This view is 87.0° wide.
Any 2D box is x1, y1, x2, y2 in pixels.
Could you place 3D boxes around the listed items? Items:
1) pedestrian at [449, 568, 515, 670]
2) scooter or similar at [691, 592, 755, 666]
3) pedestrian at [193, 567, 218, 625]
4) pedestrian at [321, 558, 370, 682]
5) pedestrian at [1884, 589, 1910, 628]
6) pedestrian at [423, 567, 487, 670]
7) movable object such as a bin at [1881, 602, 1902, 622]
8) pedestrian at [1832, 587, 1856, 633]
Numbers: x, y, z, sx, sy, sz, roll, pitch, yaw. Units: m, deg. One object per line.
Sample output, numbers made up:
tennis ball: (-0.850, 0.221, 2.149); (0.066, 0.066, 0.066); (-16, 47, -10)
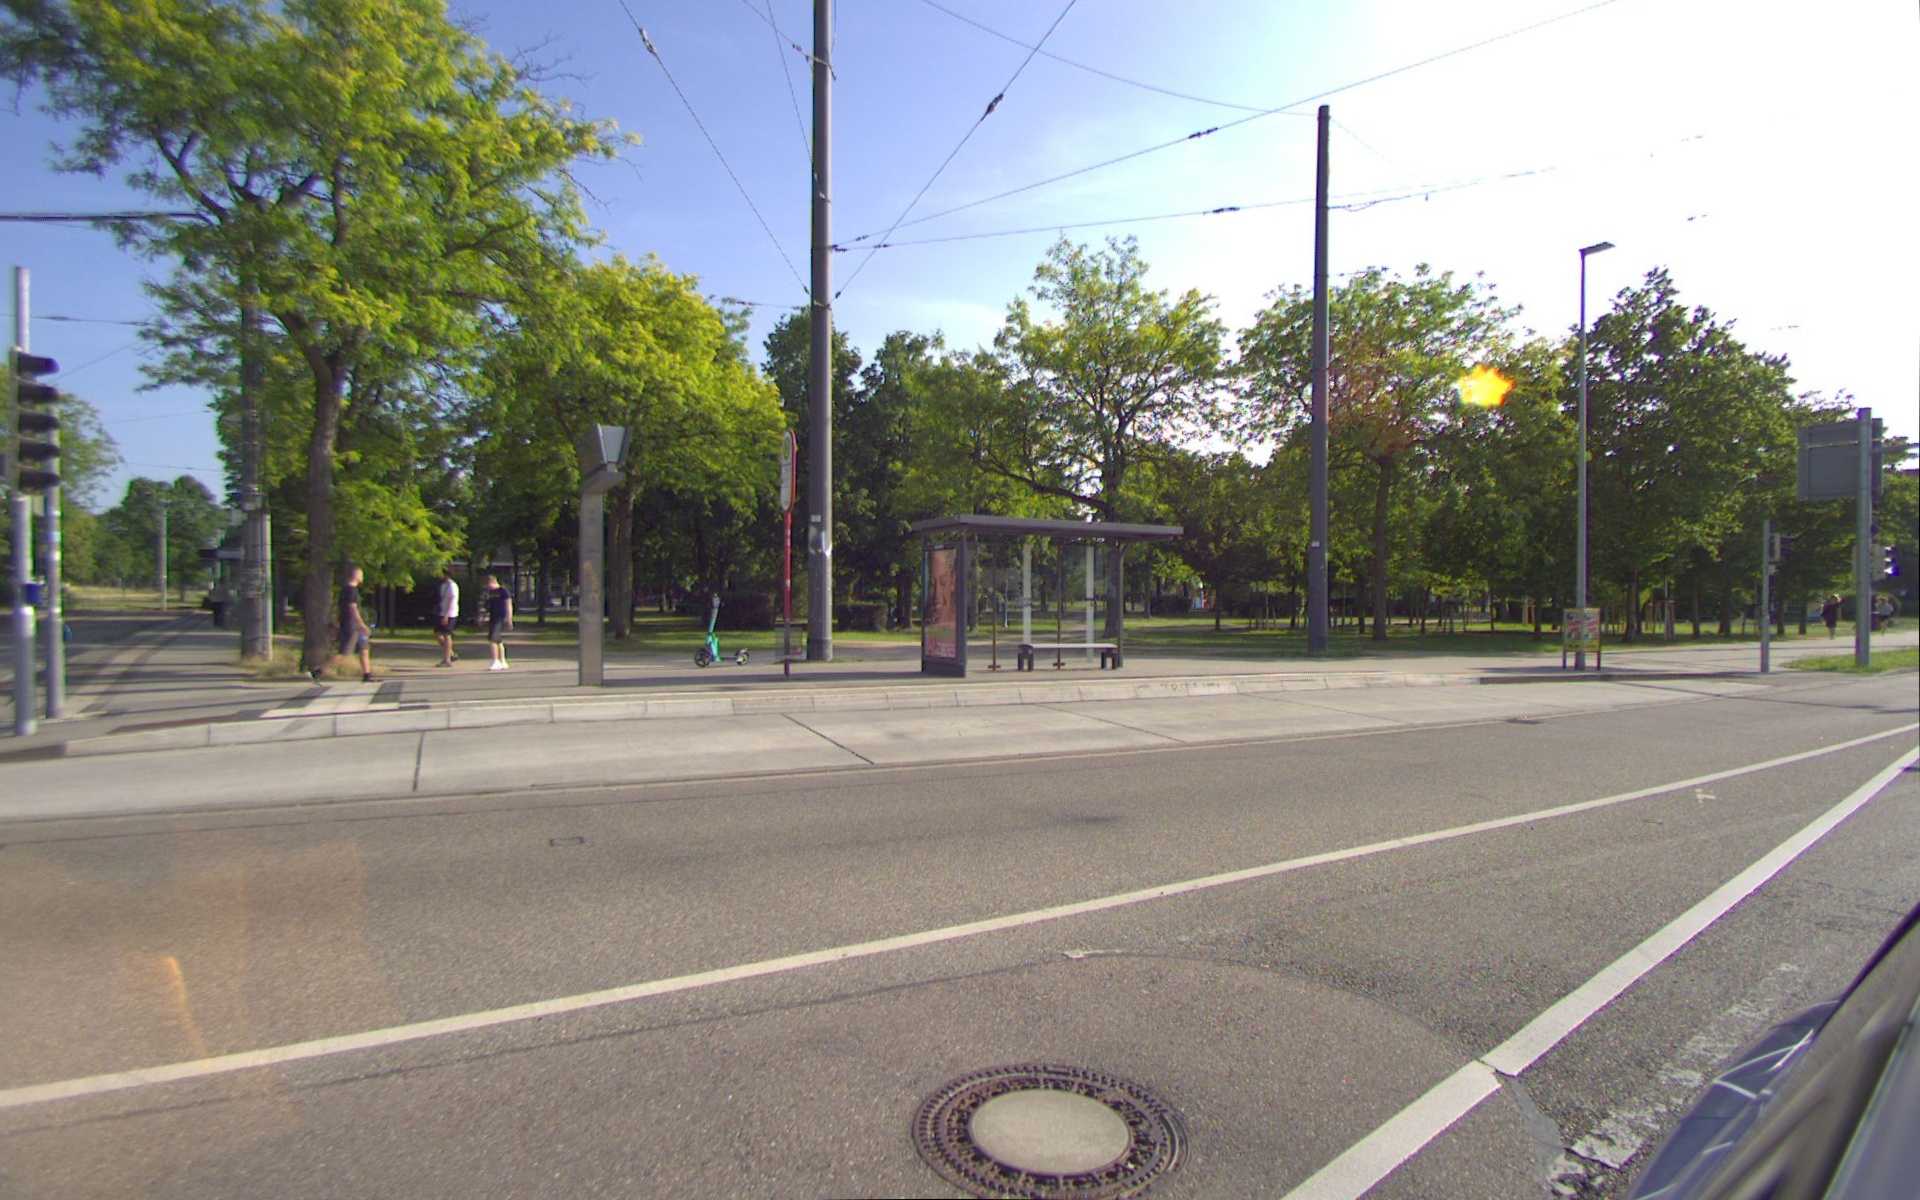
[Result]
pedestrian: (-8.691, 0.354, 18.406); (0.669, 1.800, 0.868); (-3, -2, 36)
scooter or similar: (-4.155, 0.491, 17.779); (0.351, 1.247, 1.119); (0, 0, 41)
pedestrian: (-25.132, -0.124, 33.708); (0.594, 1.892, 0.462); (-1, -2, -32)
pedestrian: (-9.128, 0.296, 15.048); (0.575, 1.800, 0.580); (0, -2, -26)
pedestrian: (40.039, 0.352, 43.231); (0.648, 1.672, 0.623); (0, 0, -27)
pedestrian: (-9.697, 0.366, 19.438); (0.667, 1.922, 0.871); (-3, -2, 28)
movable object such as a bin: (43.297, 0.560, 47.058); (0.515, 0.915, 0.503); (0, 0, 4)
pedestrian: (33.697, 0.382, 38.585); (0.650, 1.722, 0.558); (0, 0, -35)
